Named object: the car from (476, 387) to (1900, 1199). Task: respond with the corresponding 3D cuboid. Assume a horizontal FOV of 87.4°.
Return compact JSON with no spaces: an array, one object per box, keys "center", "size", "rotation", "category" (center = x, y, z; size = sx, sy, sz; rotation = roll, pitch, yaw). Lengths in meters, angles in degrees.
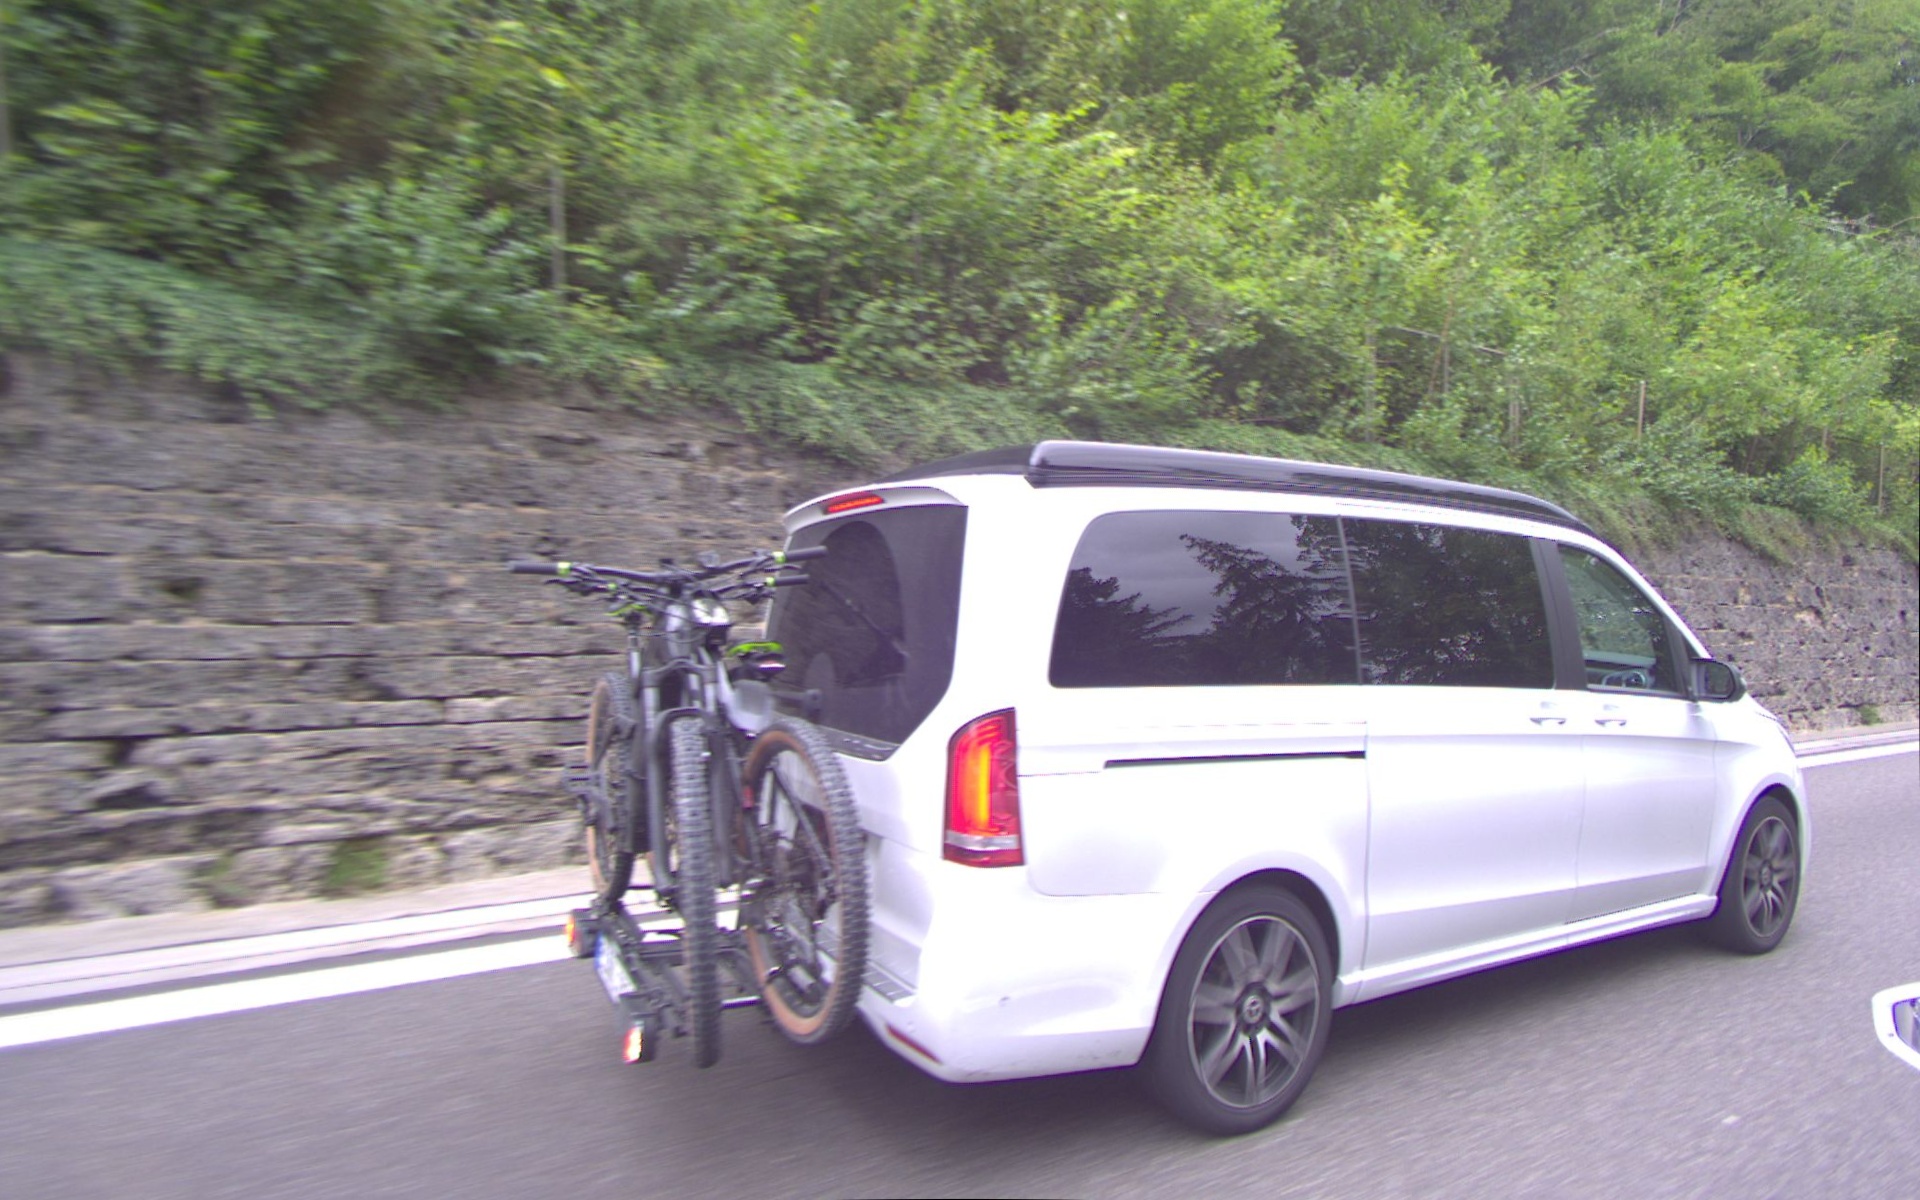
[{"center":[1.422,0.642,4.189],"size":[6.075,1.979,1.984],"rotation":[1,1,-30],"category":"car"}]
